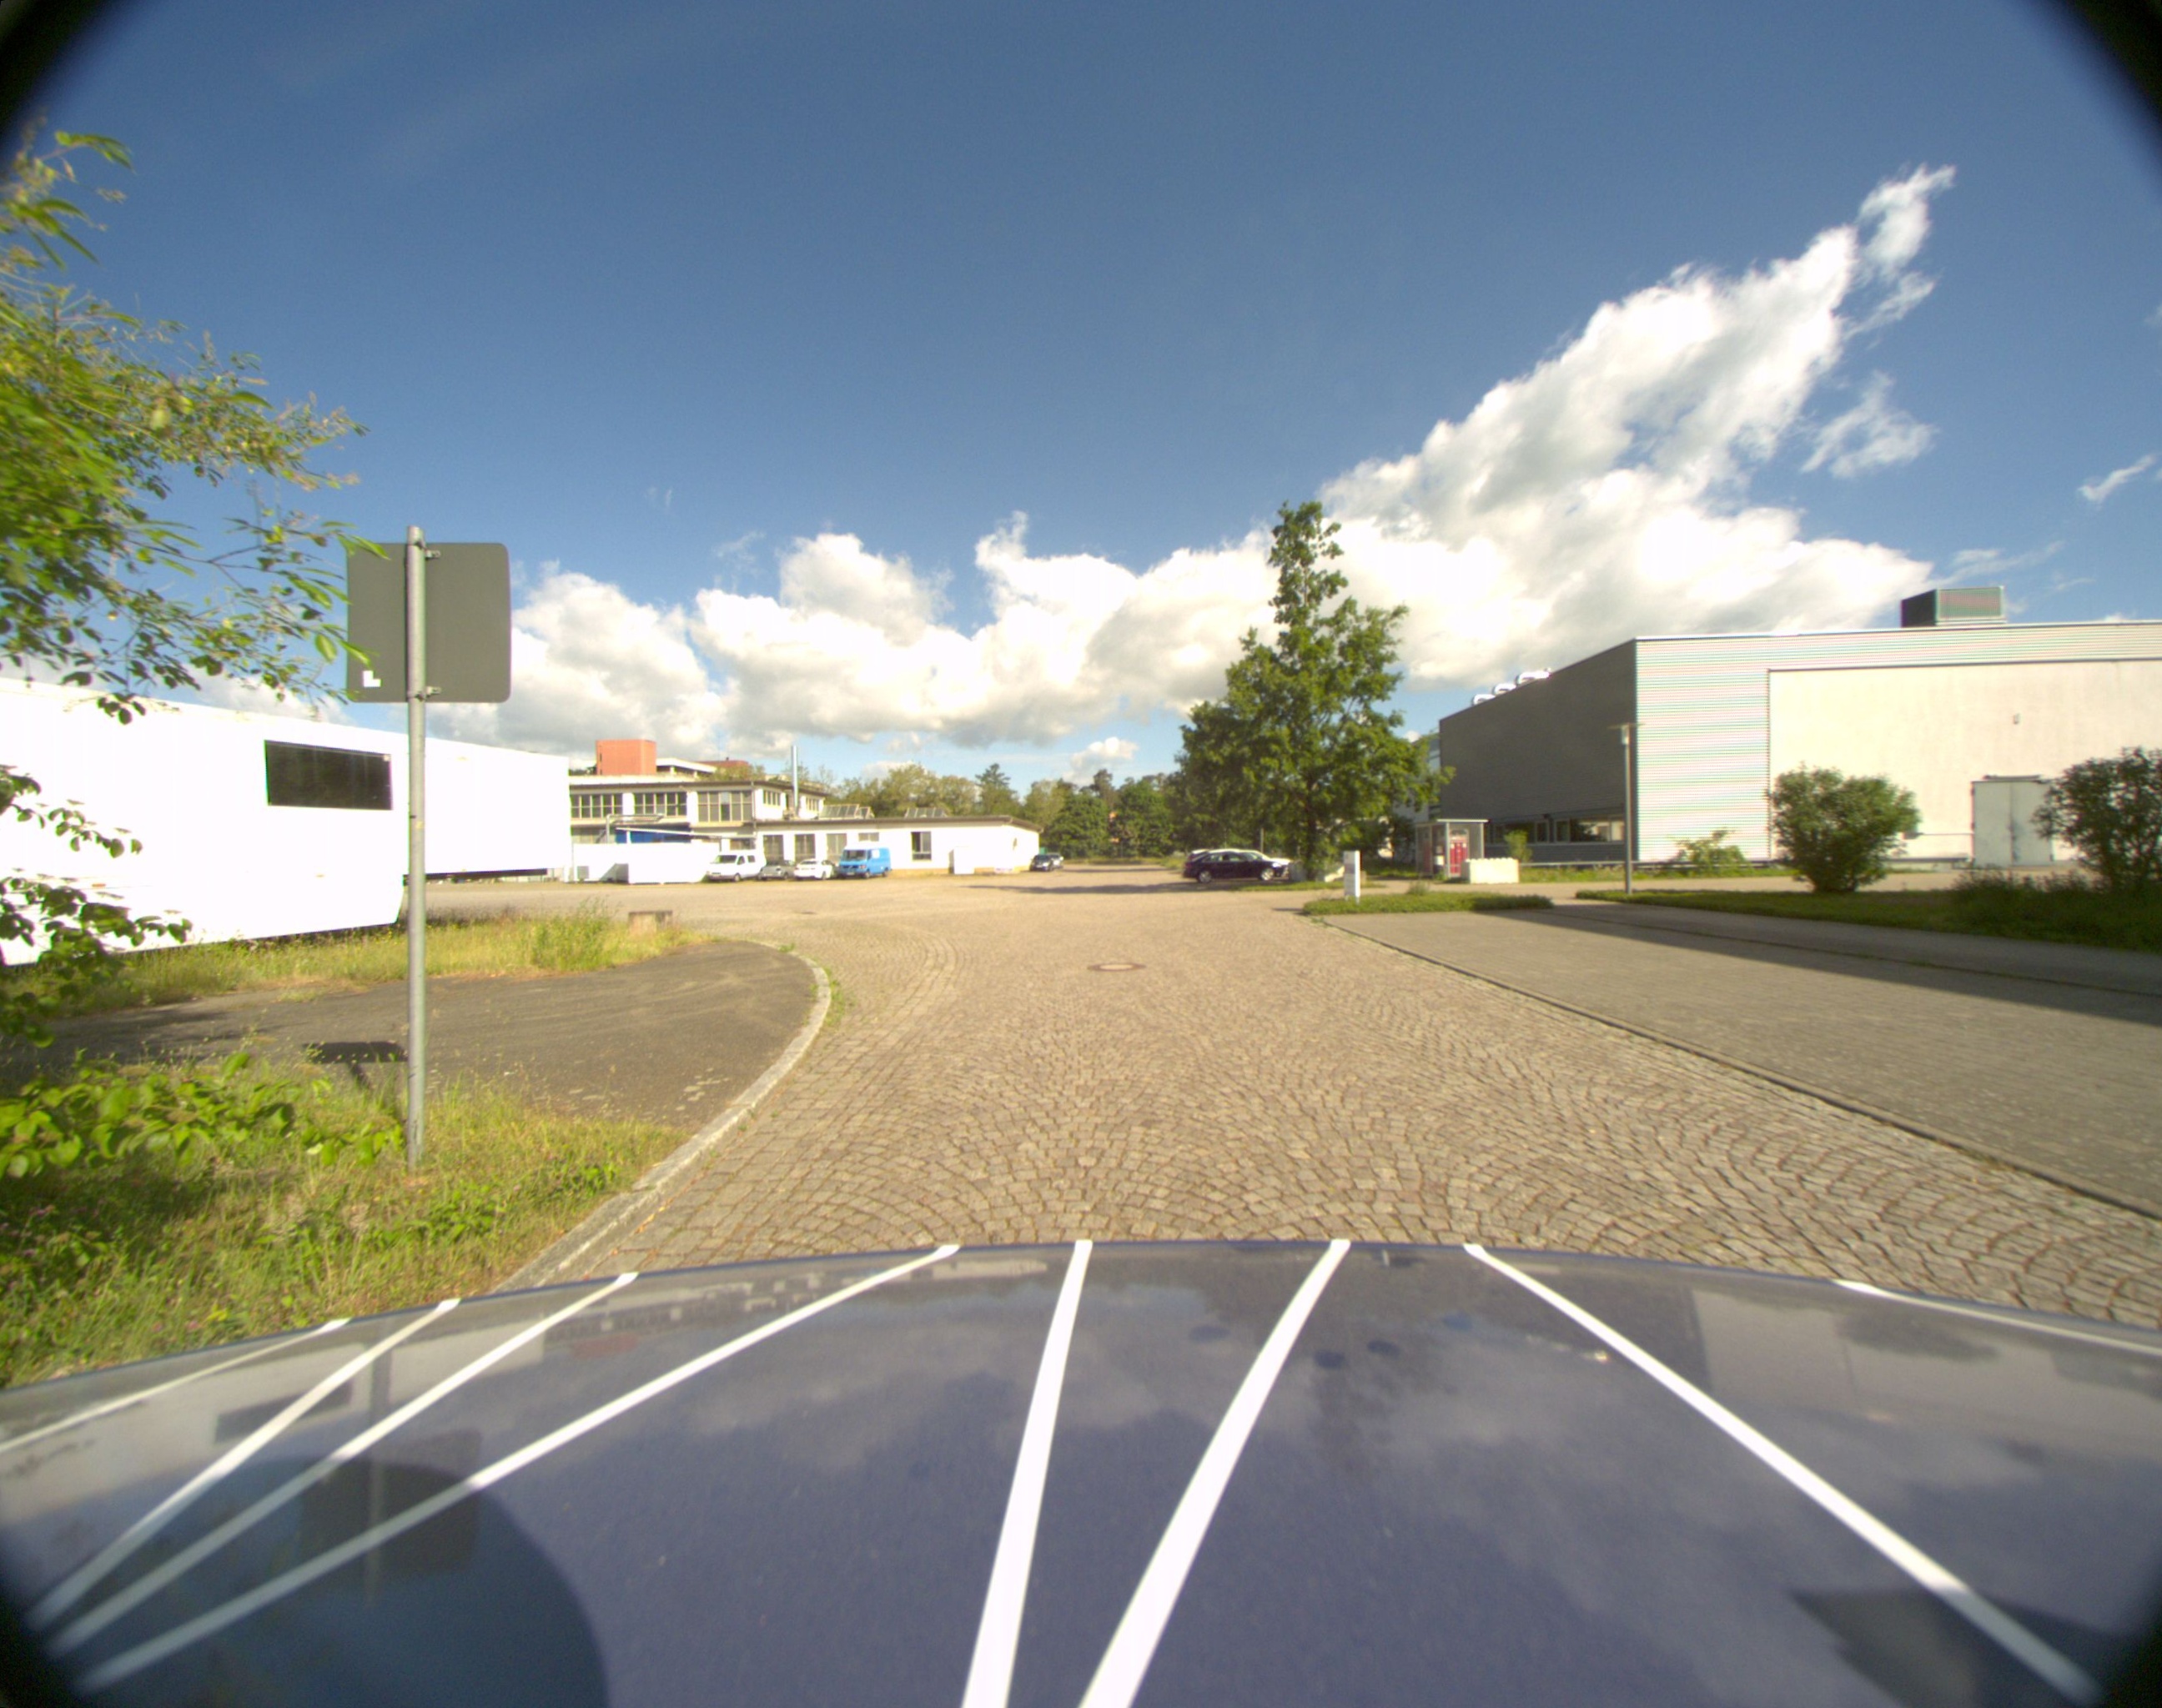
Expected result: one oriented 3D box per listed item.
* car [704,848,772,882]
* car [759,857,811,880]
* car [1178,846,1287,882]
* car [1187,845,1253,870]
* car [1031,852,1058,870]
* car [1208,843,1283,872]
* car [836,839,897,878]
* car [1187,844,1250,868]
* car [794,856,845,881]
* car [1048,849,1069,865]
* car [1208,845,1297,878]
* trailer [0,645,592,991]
[{"bbox_3d":[-23.105,0.683,51.417,2.007,2.070,4.806,-1,1,6],"label":"car"},{"bbox_3d":[-20.136,0.957,51.849,1.690,1.390,3.833,-1,1,6],"label":"car"},{"bbox_3d":[7.025,0.443,35.587,4.730,1.415,1.757,-3,1,2],"label":"car"},{"bbox_3d":[8.795,0.208,48.451,3.921,1.409,1.693,-3,1,4],"label":"car"},{"bbox_3d":[-2.996,0.530,62.813,1.767,1.427,3.993,-1,1,4],"label":"car"},{"bbox_3d":[9.344,0.214,43.418,3.921,1.438,1.756,-3,1,4],"label":"car"},{"bbox_3d":[-14.534,0.271,51.781,2.087,2.469,5.241,-1,1,6],"label":"car"},{"bbox_3d":[9.179,0.133,51.084,3.921,1.427,1.796,-3,1,4],"label":"car"},{"bbox_3d":[-17.389,0.931,50.741,1.736,1.398,3.739,-2,2,6],"label":"car"},{"bbox_3d":[-2.136,0.281,73.096,1.690,1.427,3.987,-1,1,4],"label":"car"},{"bbox_3d":[8.547,0.357,38.139,4.146,1.451,1.692,-3,1,8],"label":"car"},{"bbox_3d":[-13.175,-0.408,12.154,2.778,3.888,10.889,-1,0,5],"label":"trailer"}]
